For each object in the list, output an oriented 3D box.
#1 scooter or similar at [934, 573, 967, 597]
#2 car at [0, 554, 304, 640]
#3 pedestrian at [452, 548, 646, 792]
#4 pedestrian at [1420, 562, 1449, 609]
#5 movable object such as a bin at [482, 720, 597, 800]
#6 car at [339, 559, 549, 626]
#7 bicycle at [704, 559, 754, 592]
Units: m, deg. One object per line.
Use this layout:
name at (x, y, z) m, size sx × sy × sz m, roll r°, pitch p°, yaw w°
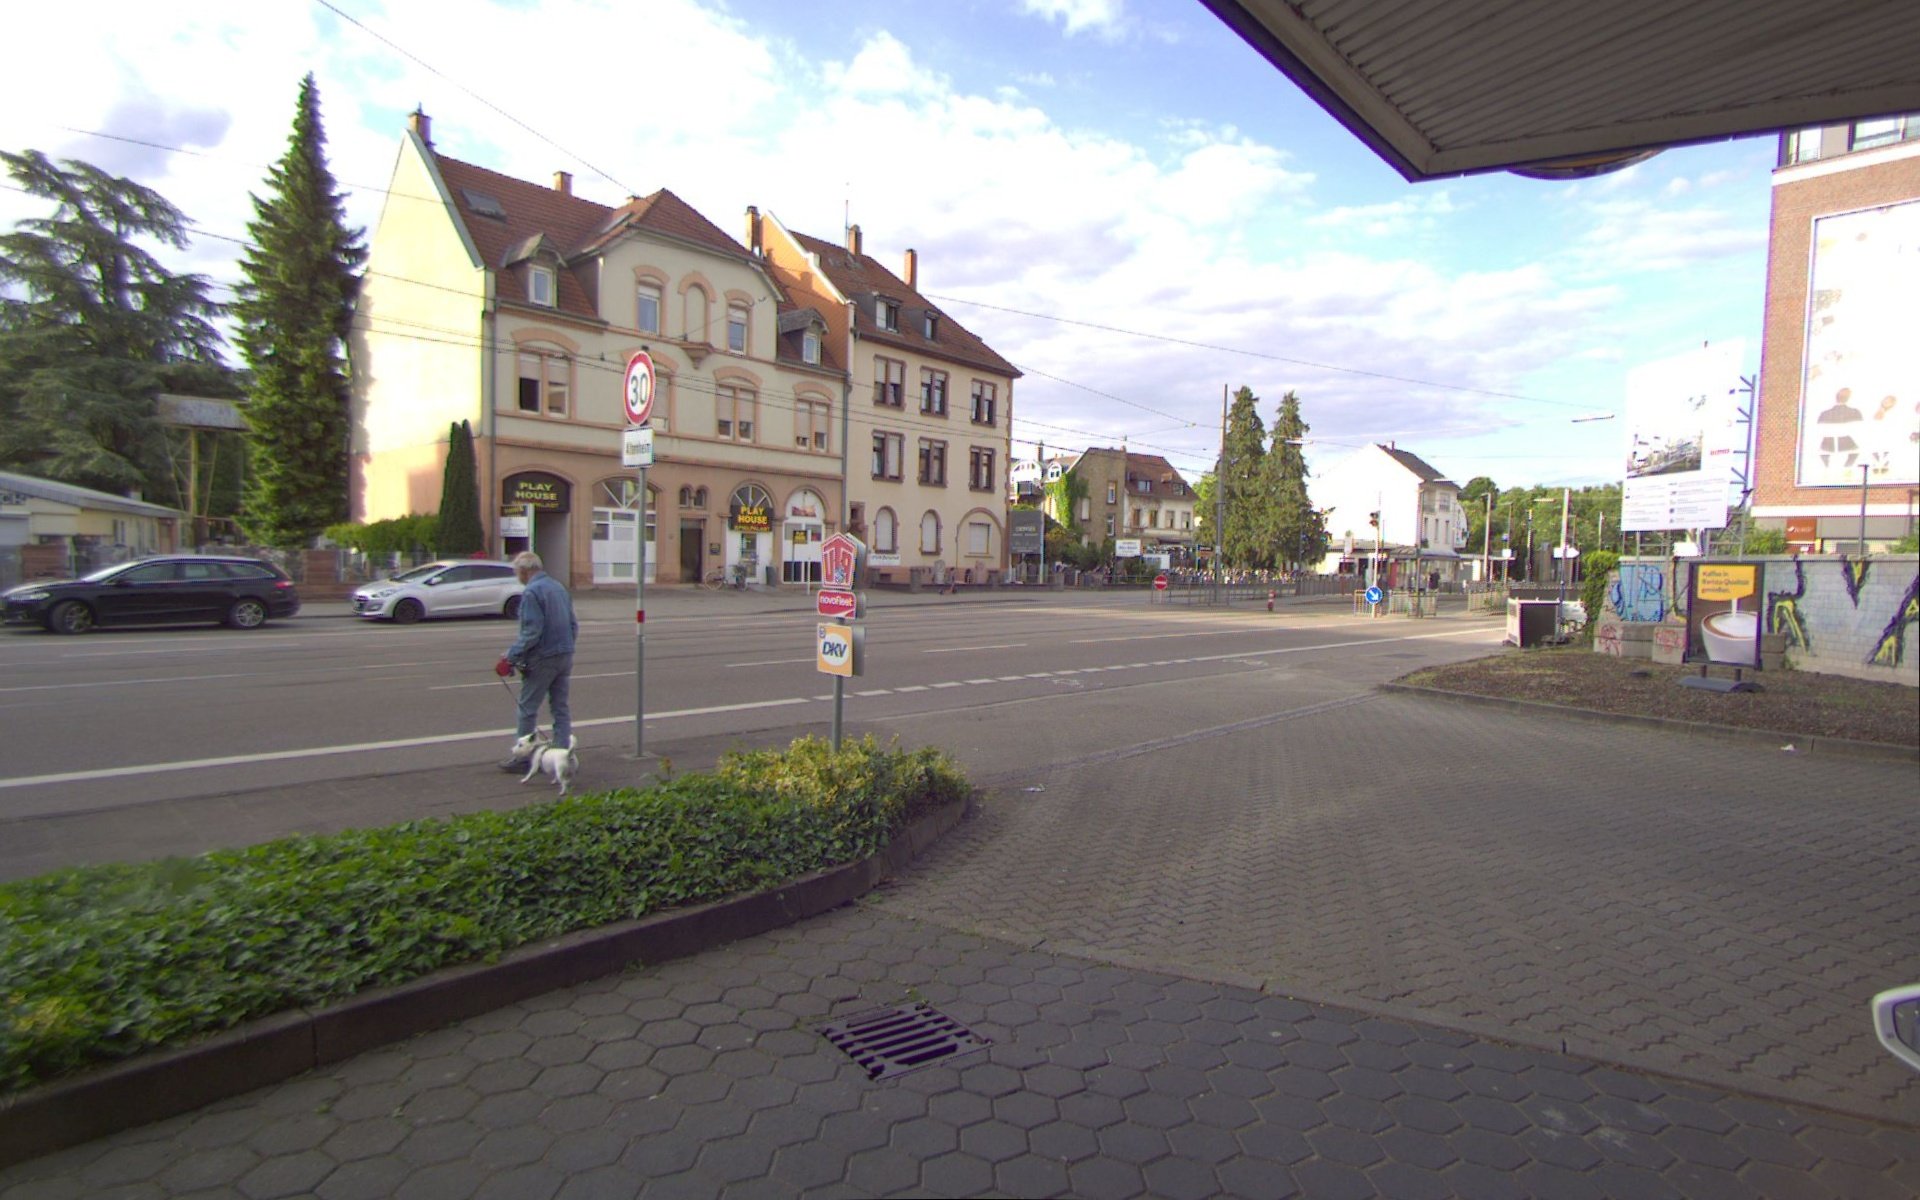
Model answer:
scooter or similar at (-0.431, -0.665, 45.122) m, size 0.461 × 1.041 × 1.655 m, roll 4°, pitch 3°, yaw 40°
car at (-16.594, -0.136, 20.744) m, size 1.983 × 1.520 × 4.755 m, roll 4°, pitch 4°, yaw 39°
pedestrian at (-3.126, 0.473, 7.671) m, size 0.955 × 1.690 × 1.001 m, roll 2°, pitch 2°, yaw 34°
pedestrian at (21.272, -0.637, 45.038) m, size 0.841 × 2.040 × 0.802 m, roll 2°, pitch 0°, yaw -31°
movable object such as a bin at (-3.027, 1.138, 7.231) m, size 0.668 × 0.426 × 0.479 m, roll 2°, pitch 2°, yaw 34°
car at (-12.913, -0.232, 25.366) m, size 1.699 × 1.503 × 4.434 m, roll 4°, pitch 4°, yaw 40°
bicycle at (-9.101, -0.953, 39.620) m, size 0.665 × 1.229 × 1.862 m, roll 4°, pitch 2°, yaw 41°
